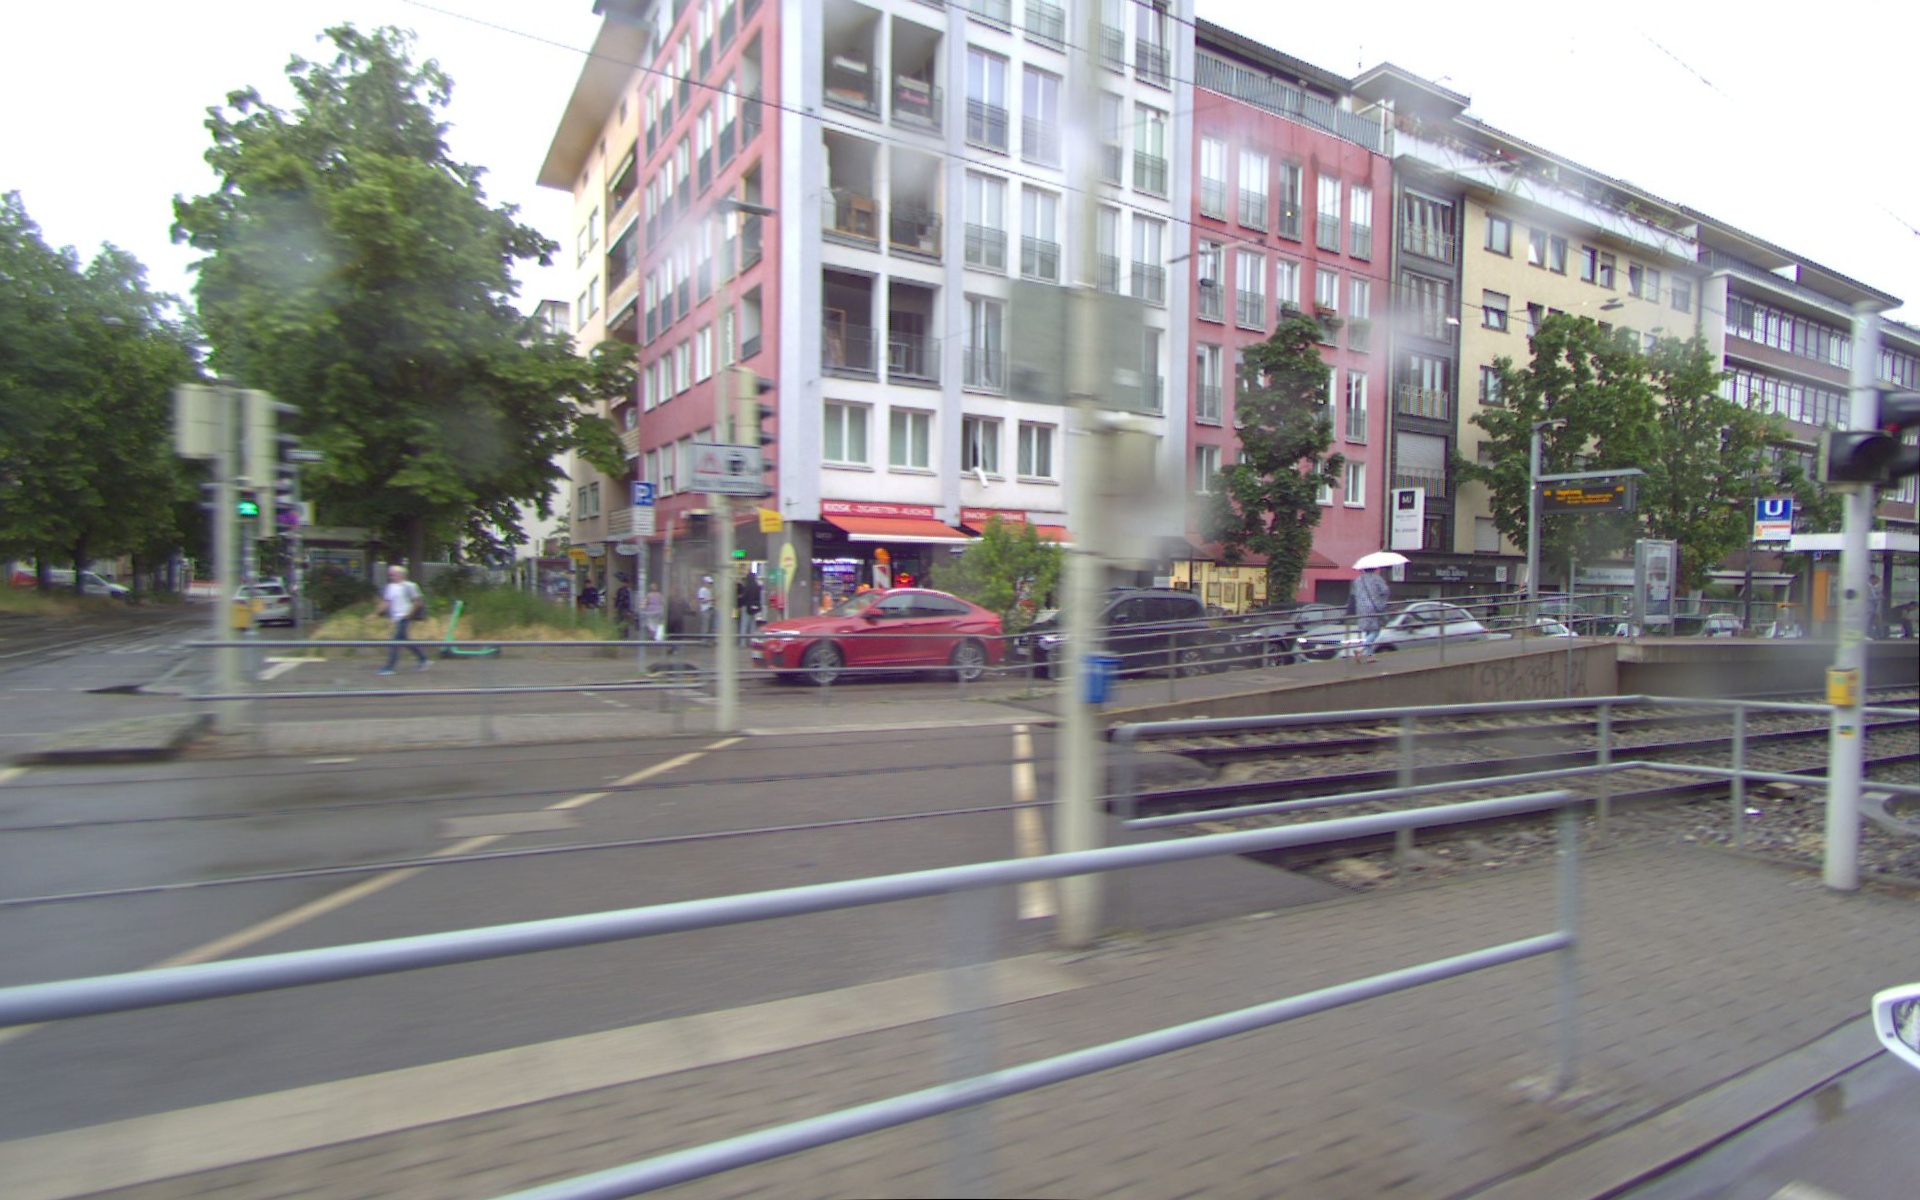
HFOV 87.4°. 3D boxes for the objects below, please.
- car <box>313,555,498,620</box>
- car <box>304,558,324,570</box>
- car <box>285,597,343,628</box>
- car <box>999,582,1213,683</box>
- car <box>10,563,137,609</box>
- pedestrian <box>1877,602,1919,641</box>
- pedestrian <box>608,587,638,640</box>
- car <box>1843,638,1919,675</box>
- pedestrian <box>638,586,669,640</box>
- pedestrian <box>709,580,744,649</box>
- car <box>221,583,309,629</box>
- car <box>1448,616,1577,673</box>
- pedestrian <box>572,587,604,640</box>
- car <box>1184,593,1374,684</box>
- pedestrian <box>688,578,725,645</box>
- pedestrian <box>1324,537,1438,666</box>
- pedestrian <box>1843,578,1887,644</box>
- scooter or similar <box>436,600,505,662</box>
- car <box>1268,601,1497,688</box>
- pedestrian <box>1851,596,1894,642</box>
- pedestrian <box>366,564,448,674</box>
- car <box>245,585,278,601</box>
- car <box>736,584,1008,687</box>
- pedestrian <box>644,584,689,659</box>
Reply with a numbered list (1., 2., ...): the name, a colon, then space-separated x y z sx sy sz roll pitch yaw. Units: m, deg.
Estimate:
1. car: -24.683 -0.484 44.983 7.015 2.568 2.404 2 -1 -30
2. car: -88.274 -4.964 137.361 1.976 1.392 3.969 2 2 -29
3. car: -32.264 0.613 50.284 2.073 1.392 4.414 2 -1 -29
4. car: 3.029 0.653 20.520 4.276 1.883 1.697 2 0 -34
5. car: -47.349 -0.719 53.800 4.812 2.239 1.891 2 0 -33
6. pedestrian: 27.994 0.640 29.946 0.843 1.138 0.884 2 0 -42
7. pedestrian: -9.396 0.382 28.015 0.644 1.424 0.556 2 1 -33
8. car: 39.829 2.409 43.378 4.195 1.455 1.558 2 0 -35
9. pedestrian: -8.646 0.368 28.344 0.649 1.481 0.635 2 1 -33
10. pedestrian: -5.783 0.348 24.908 0.535 1.653 0.574 3 1 23
11. car: -23.355 0.197 33.897 1.976 1.392 3.969 2 -1 -29
12. car: 15.490 1.220 28.091 3.939 1.455 1.558 2 0 -35
13. pedestrian: -10.162 0.371 27.419 0.651 1.402 0.686 2 1 -33
14. car: 7.270 0.848 22.761 4.335 1.883 1.791 2 0 -34
15. pedestrian: -6.378 0.284 25.306 0.570 1.653 0.609 4 1 33
16. pedestrian: 6.982 0.042 16.679 1.368 2.040 1.110 2 -1 -31
17. pedestrian: 24.395 0.291 27.075 0.841 1.734 0.651 1 0 -33
18. scooter or similar: -9.785 0.623 20.088 1.197 1.207 0.387 2 -1 -30
19. car: 8.823 0.901 20.854 4.963 1.599 1.798 2 0 -31
20. pedestrian: 26.066 0.543 28.692 0.875 1.265 0.688 2 0 -33
21. pedestrian: -9.038 0.301 16.416 0.979 1.720 0.811 2 2 -42
22. car: -63.167 -0.638 90.926 1.976 1.392 3.969 2 -1 -29
23. car: -1.498 0.598 17.784 4.499 1.633 1.718 1 0 -30
24. pedestrian: -6.657 0.464 22.759 0.797 1.654 0.875 -1 2 -29
